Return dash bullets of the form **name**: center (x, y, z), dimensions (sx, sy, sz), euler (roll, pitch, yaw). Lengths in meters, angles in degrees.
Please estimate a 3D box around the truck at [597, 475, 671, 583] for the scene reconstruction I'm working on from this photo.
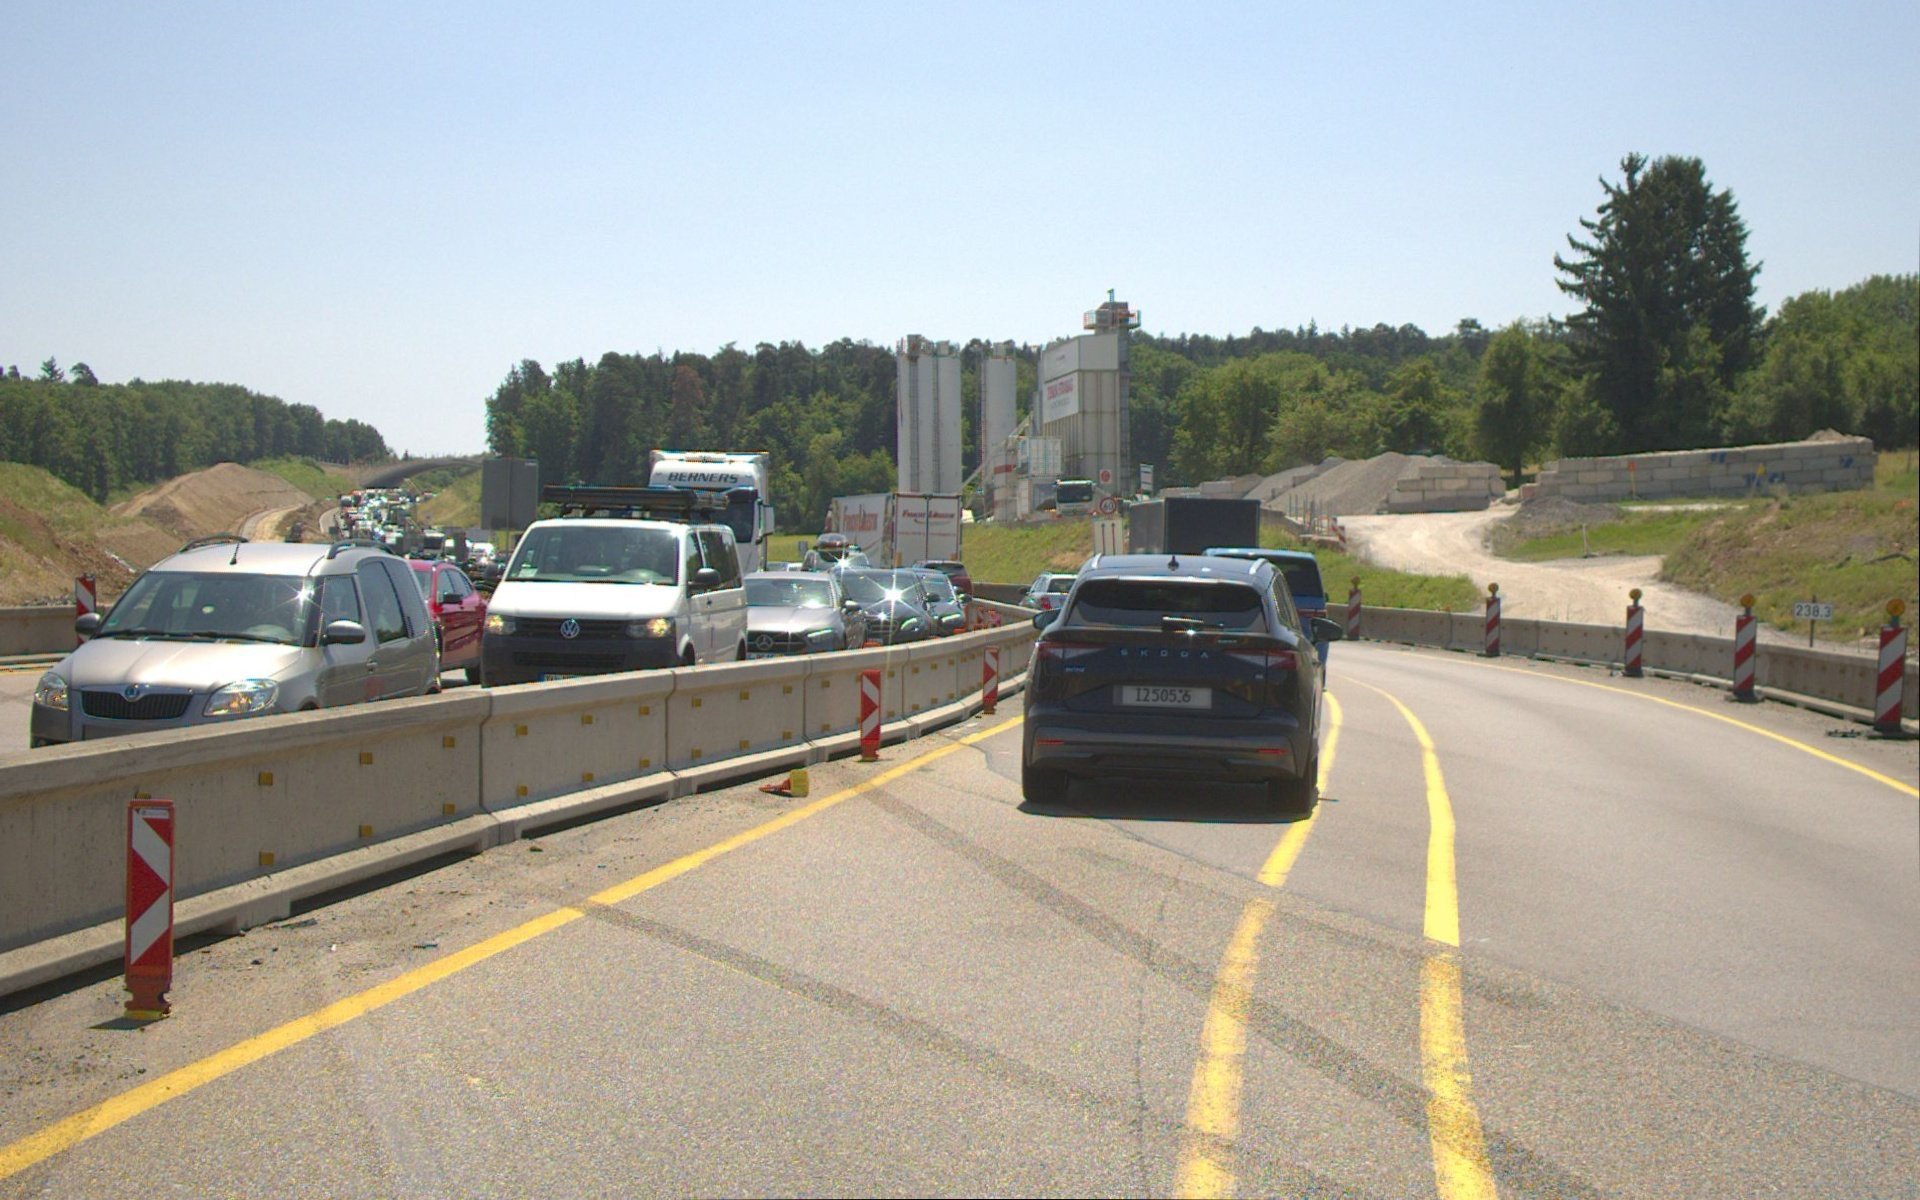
- **truck**: center (-12.951, -2.803, 136.083), dimensions (2.772, 4.123, 10.873), euler (0, 1, -6)

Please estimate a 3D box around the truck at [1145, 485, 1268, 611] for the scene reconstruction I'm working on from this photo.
- **truck**: center (5.971, -1.281, 83.943), dimensions (2.673, 2.935, 5.620), euler (-1, 1, 1)

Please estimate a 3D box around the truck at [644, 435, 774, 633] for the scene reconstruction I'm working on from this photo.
- **truck**: center (-5.746, -1.535, 79.859), dimensions (2.773, 4.263, 11.782), euler (0, 1, -3)

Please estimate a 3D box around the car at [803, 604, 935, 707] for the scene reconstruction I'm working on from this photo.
- **car**: center (-1.334, 0.808, 51.971), dimensions (1.726, 1.403, 4.129), euler (1, 1, 2)

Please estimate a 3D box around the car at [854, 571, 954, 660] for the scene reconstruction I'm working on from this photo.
- **car**: center (-0.956, 0.240, 60.133), dimensions (1.656, 1.448, 4.248), euler (1, 1, 0)

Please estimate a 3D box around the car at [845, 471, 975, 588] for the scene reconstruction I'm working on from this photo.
- **car**: center (-1.965, -2.670, 129.384), dimensions (3.435, 4.087, 9.200), euler (3, 1, -9)

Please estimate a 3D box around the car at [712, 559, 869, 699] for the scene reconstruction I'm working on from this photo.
- **car**: center (-2.099, 0.327, 43.443), dimensions (1.509, 1.598, 3.953), euler (3, 1, 3)

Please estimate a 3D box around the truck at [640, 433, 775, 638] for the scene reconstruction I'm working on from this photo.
- **truck**: center (-5.434, -1.403, 74.597), dimensions (2.770, 4.245, 6.200), euler (0, 1, -3)

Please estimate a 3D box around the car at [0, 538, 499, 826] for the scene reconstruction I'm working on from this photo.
- **car**: center (-4.556, 0.432, 21.967), dimensions (1.758, 1.610, 4.226), euler (2, 1, 13)

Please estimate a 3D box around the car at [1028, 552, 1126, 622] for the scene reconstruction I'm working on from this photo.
- **car**: center (2.708, -0.333, 80.764), dimensions (2.045, 1.521, 5.066), euler (-1, 1, -1)

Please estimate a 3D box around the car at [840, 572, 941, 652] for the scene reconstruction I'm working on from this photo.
- **car**: center (-1.391, 0.209, 67.107), dimensions (1.677, 1.439, 4.554), euler (1, 1, -5)

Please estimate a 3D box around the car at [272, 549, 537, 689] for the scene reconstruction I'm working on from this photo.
- **car**: center (-6.622, 0.180, 41.520), dimensions (1.994, 1.496, 4.653), euler (3, 1, 5)

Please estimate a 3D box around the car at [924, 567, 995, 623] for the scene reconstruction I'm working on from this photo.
- **car**: center (-0.035, -0.173, 105.157), dimensions (1.820, 1.638, 3.866), euler (1, 1, -5)

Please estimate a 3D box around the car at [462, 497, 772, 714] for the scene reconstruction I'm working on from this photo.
- **car**: center (-3.227, 0.007, 33.406), dimensions (1.873, 1.866, 5.057), euler (3, 1, 7)

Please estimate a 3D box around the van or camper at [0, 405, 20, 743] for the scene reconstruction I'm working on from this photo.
- **van or camper**: center (-8.560, -0.133, 23.092), dimensions (2.099, 2.532, 6.304), euler (-1, 1, 7)

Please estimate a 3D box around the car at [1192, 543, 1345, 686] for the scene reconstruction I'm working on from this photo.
- **car**: center (4.251, 0.154, 47.601), dimensions (1.994, 1.837, 4.000), euler (1, 1, 5)

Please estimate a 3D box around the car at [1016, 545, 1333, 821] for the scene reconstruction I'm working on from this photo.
- **car**: center (1.450, 0.467, 22.702), dimensions (1.843, 1.576, 3.999), euler (3, 1, 5)
